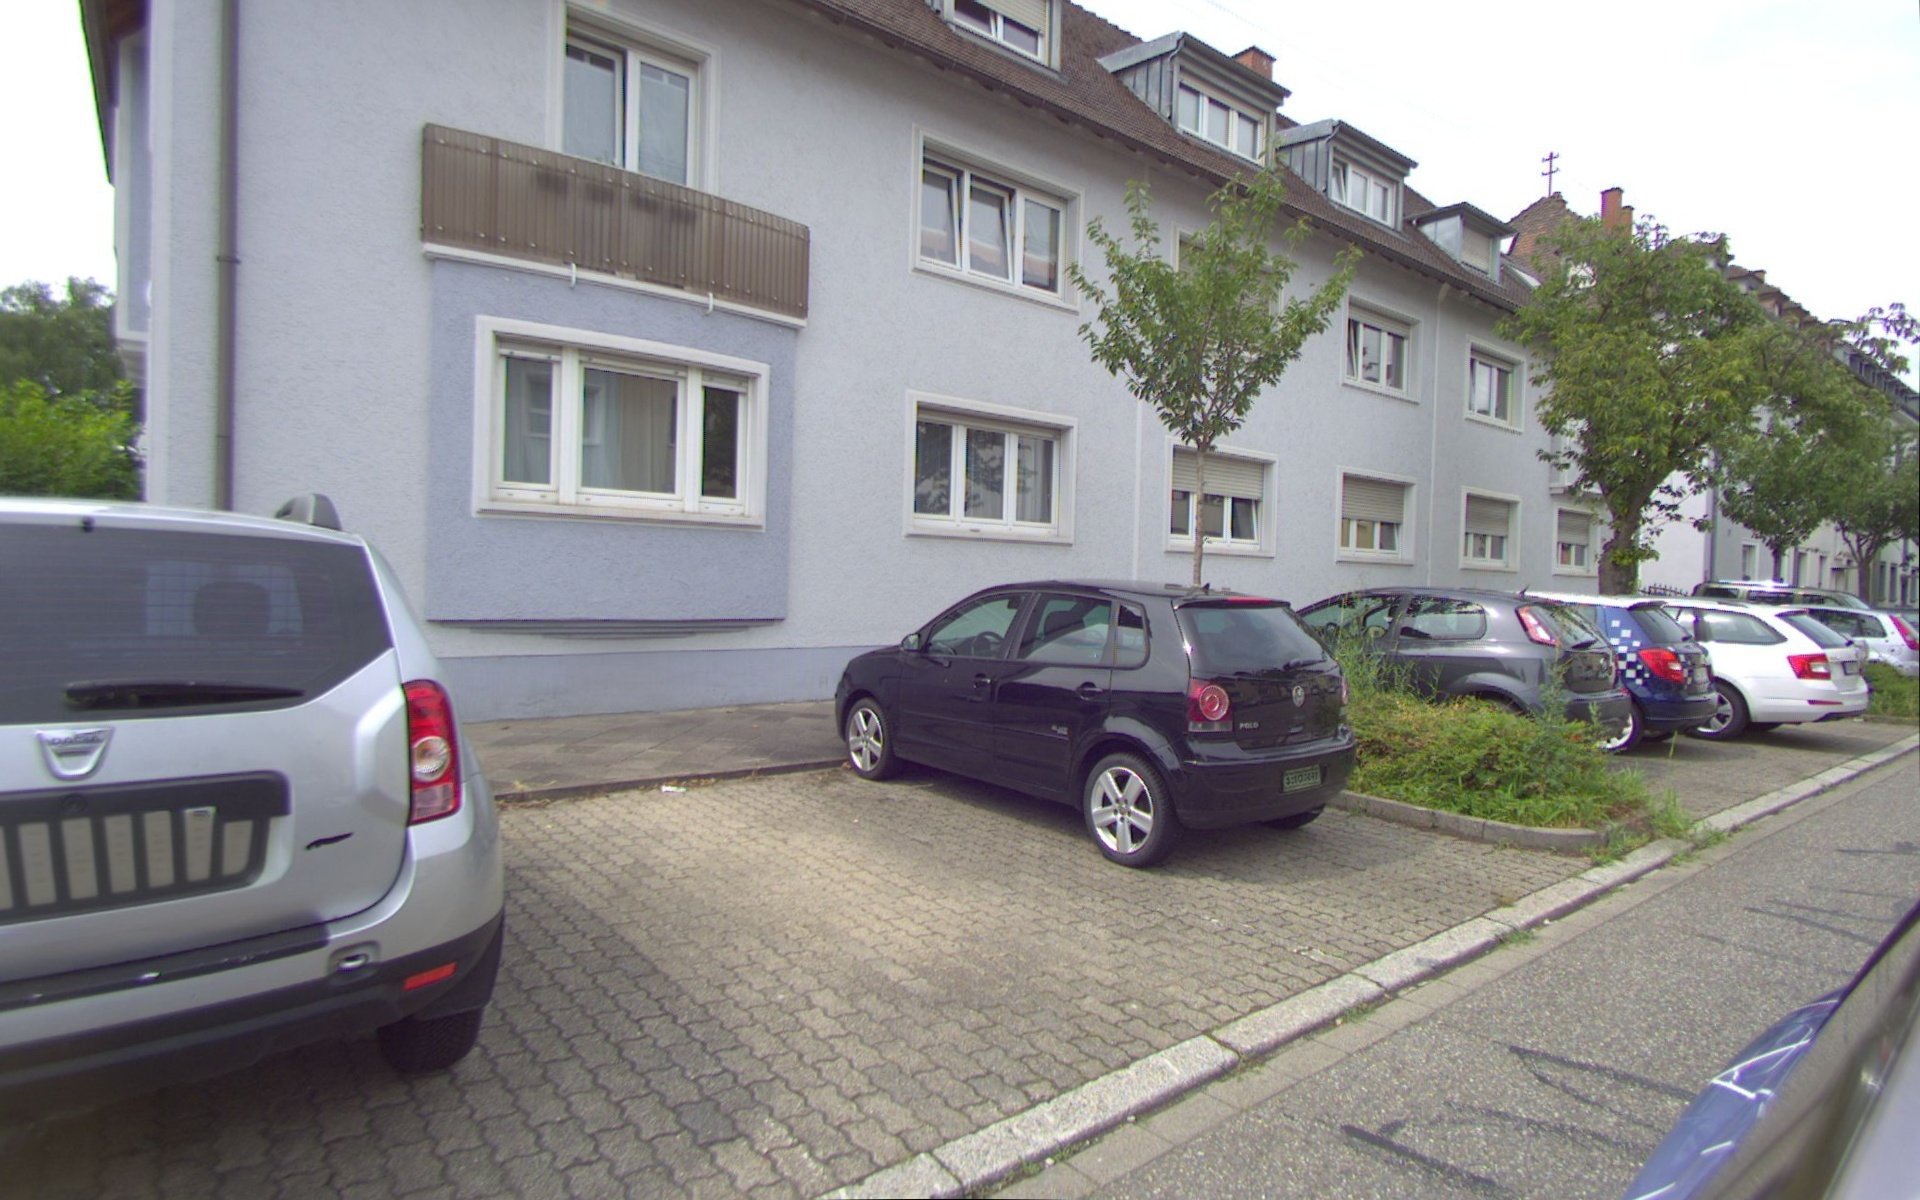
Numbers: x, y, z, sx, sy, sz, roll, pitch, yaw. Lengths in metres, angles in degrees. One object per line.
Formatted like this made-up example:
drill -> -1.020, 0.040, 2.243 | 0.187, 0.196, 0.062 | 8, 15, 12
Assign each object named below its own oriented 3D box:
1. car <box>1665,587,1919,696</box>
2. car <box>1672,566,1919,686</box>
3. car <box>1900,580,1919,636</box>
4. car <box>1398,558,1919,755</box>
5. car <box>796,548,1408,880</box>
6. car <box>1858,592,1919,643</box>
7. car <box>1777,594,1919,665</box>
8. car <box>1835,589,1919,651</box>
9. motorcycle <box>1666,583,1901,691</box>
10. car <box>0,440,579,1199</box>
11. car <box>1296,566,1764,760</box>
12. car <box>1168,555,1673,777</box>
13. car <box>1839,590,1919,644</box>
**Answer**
car -> 14.405, 0.634, 17.180 | 1.743, 1.472, 3.632 | 0, 4, -42
car -> 16.304, 0.428, 18.879 | 1.759, 1.880, 4.542 | 1, 4, -35
car -> 32.088, 0.375, 31.164 | 1.868, 1.756, 4.230 | 1, 4, -36
car -> 7.854, 0.455, 11.866 | 1.857, 1.684, 4.630 | 0, 4, -37
car -> 0.626, 0.456, 6.804 | 1.681, 1.439, 4.000 | 0, 4, -38
car -> 29.801, 0.602, 30.511 | 1.830, 1.459, 3.760 | 0, 4, -37
car -> 22.275, 0.700, 24.486 | 1.776, 1.470, 3.553 | 0, 4, -39
car -> 26.299, 0.595, 27.159 | 1.737, 1.548, 3.996 | 0, 4, -41
motorcycle -> 12.814, 0.515, 15.852 | 1.014, 1.482, 2.705 | 0, 2, -42
car -> -2.868, 0.372, 3.396 | 1.834, 1.652, 3.936 | 0, 5, -39
car -> 5.889, 0.496, 10.896 | 1.681, 1.526, 4.000 | 0, 4, -38
car -> 4.109, 0.425, 9.619 | 1.681, 1.526, 4.000 | 0, 4, -38
car -> 28.198, 0.558, 29.233 | 1.737, 1.427, 3.996 | 0, 4, -41
